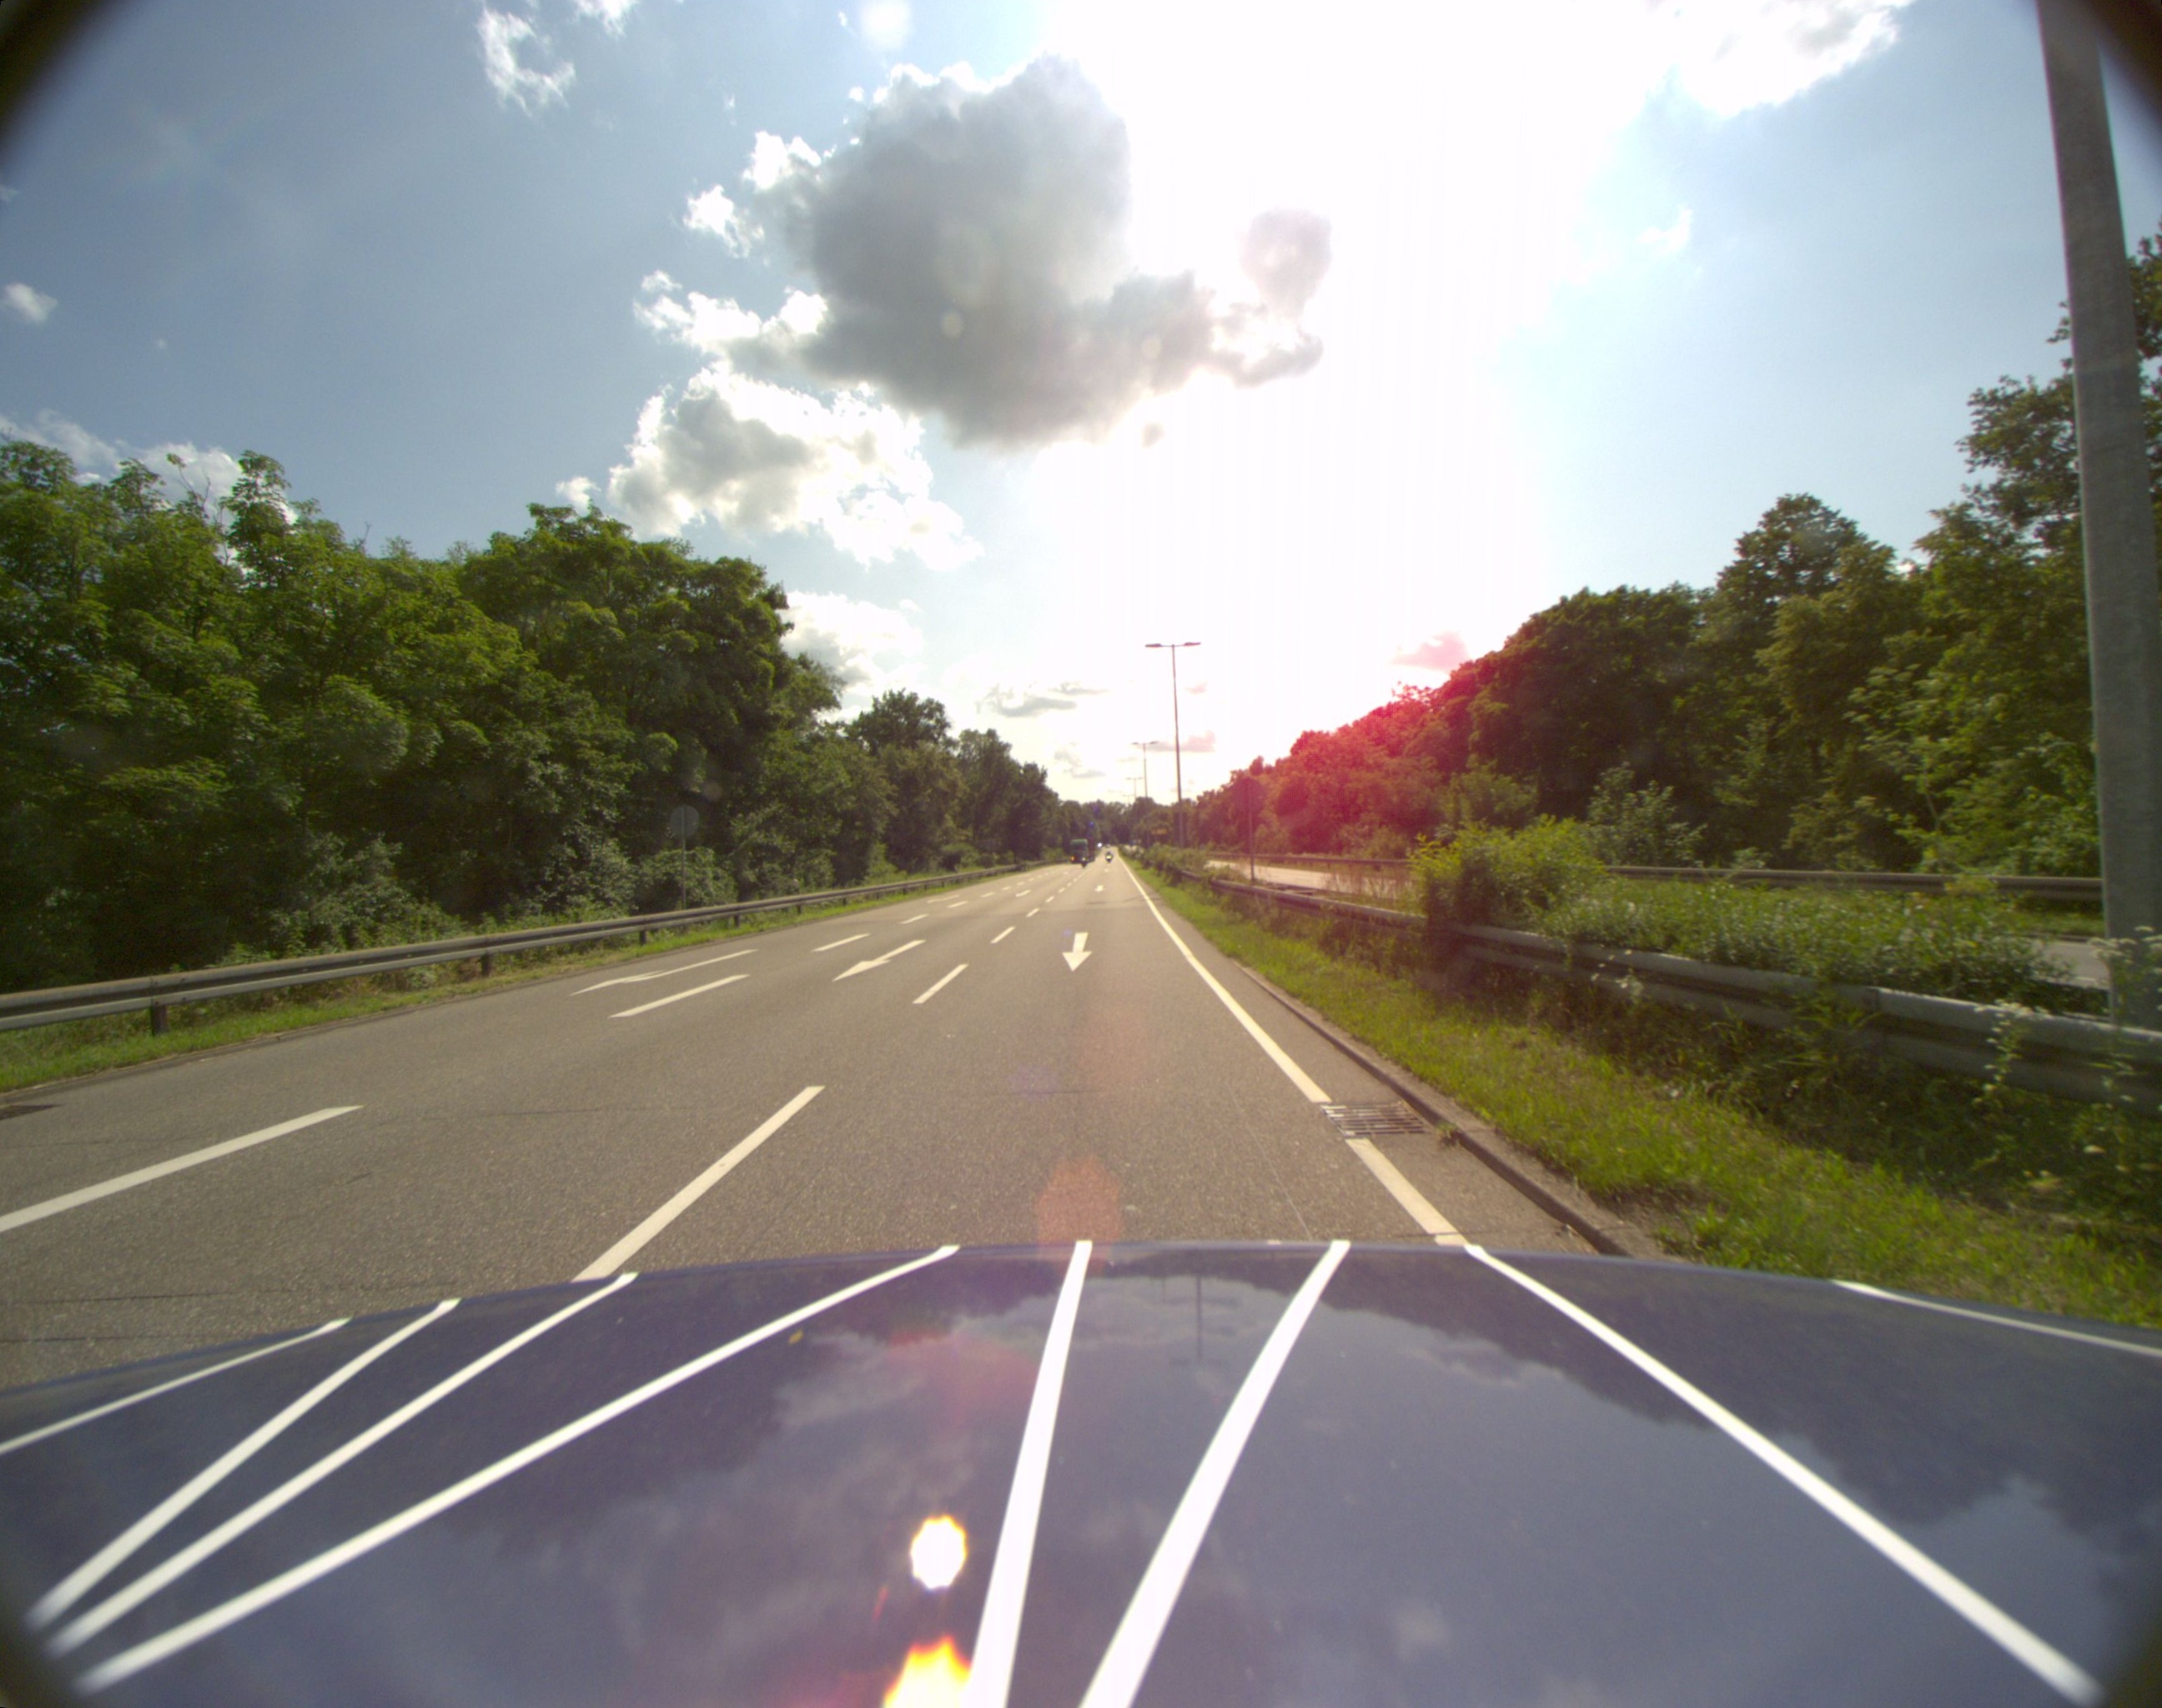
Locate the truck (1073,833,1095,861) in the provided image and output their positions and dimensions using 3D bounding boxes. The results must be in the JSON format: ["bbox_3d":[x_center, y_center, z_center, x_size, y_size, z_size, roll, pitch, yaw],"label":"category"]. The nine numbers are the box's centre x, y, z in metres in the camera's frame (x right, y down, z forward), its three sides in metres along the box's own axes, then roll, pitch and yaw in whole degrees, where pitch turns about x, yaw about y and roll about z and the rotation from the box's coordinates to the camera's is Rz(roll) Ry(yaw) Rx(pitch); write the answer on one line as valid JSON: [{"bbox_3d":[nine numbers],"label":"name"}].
[{"bbox_3d":[0.465,-0.991,113.846,2.590,3.871,6.063,-4,0,5],"label":"truck"}]

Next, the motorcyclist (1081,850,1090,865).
[{"bbox_3d":[0.503,0.355,80.727,0.939,1.581,1.083,-2,0,2],"label":"motorcyclist"}]

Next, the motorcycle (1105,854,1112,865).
[{"bbox_3d":[3.562,0.722,99.220,0.867,1.381,2.371,-2,0,3],"label":"motorcycle"}]

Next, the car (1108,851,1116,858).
[{"bbox_3d":[6.874,0.147,166.852,1.735,1.468,4.048,-2,0,3],"label":"car"}]

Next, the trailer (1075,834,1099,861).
[{"bbox_3d":[1.059,-1.011,121.043,2.590,3.871,14.507,-4,0,5],"label":"trailer"}]

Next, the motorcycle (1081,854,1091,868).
[{"bbox_3d":[0.528,0.735,80.976,0.939,1.375,2.370,-2,0,2],"label":"motorcycle"}]

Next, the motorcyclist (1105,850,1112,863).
[{"bbox_3d":[3.550,0.373,99.276,0.867,1.690,0.895,-2,0,3],"label":"motorcyclist"}]
